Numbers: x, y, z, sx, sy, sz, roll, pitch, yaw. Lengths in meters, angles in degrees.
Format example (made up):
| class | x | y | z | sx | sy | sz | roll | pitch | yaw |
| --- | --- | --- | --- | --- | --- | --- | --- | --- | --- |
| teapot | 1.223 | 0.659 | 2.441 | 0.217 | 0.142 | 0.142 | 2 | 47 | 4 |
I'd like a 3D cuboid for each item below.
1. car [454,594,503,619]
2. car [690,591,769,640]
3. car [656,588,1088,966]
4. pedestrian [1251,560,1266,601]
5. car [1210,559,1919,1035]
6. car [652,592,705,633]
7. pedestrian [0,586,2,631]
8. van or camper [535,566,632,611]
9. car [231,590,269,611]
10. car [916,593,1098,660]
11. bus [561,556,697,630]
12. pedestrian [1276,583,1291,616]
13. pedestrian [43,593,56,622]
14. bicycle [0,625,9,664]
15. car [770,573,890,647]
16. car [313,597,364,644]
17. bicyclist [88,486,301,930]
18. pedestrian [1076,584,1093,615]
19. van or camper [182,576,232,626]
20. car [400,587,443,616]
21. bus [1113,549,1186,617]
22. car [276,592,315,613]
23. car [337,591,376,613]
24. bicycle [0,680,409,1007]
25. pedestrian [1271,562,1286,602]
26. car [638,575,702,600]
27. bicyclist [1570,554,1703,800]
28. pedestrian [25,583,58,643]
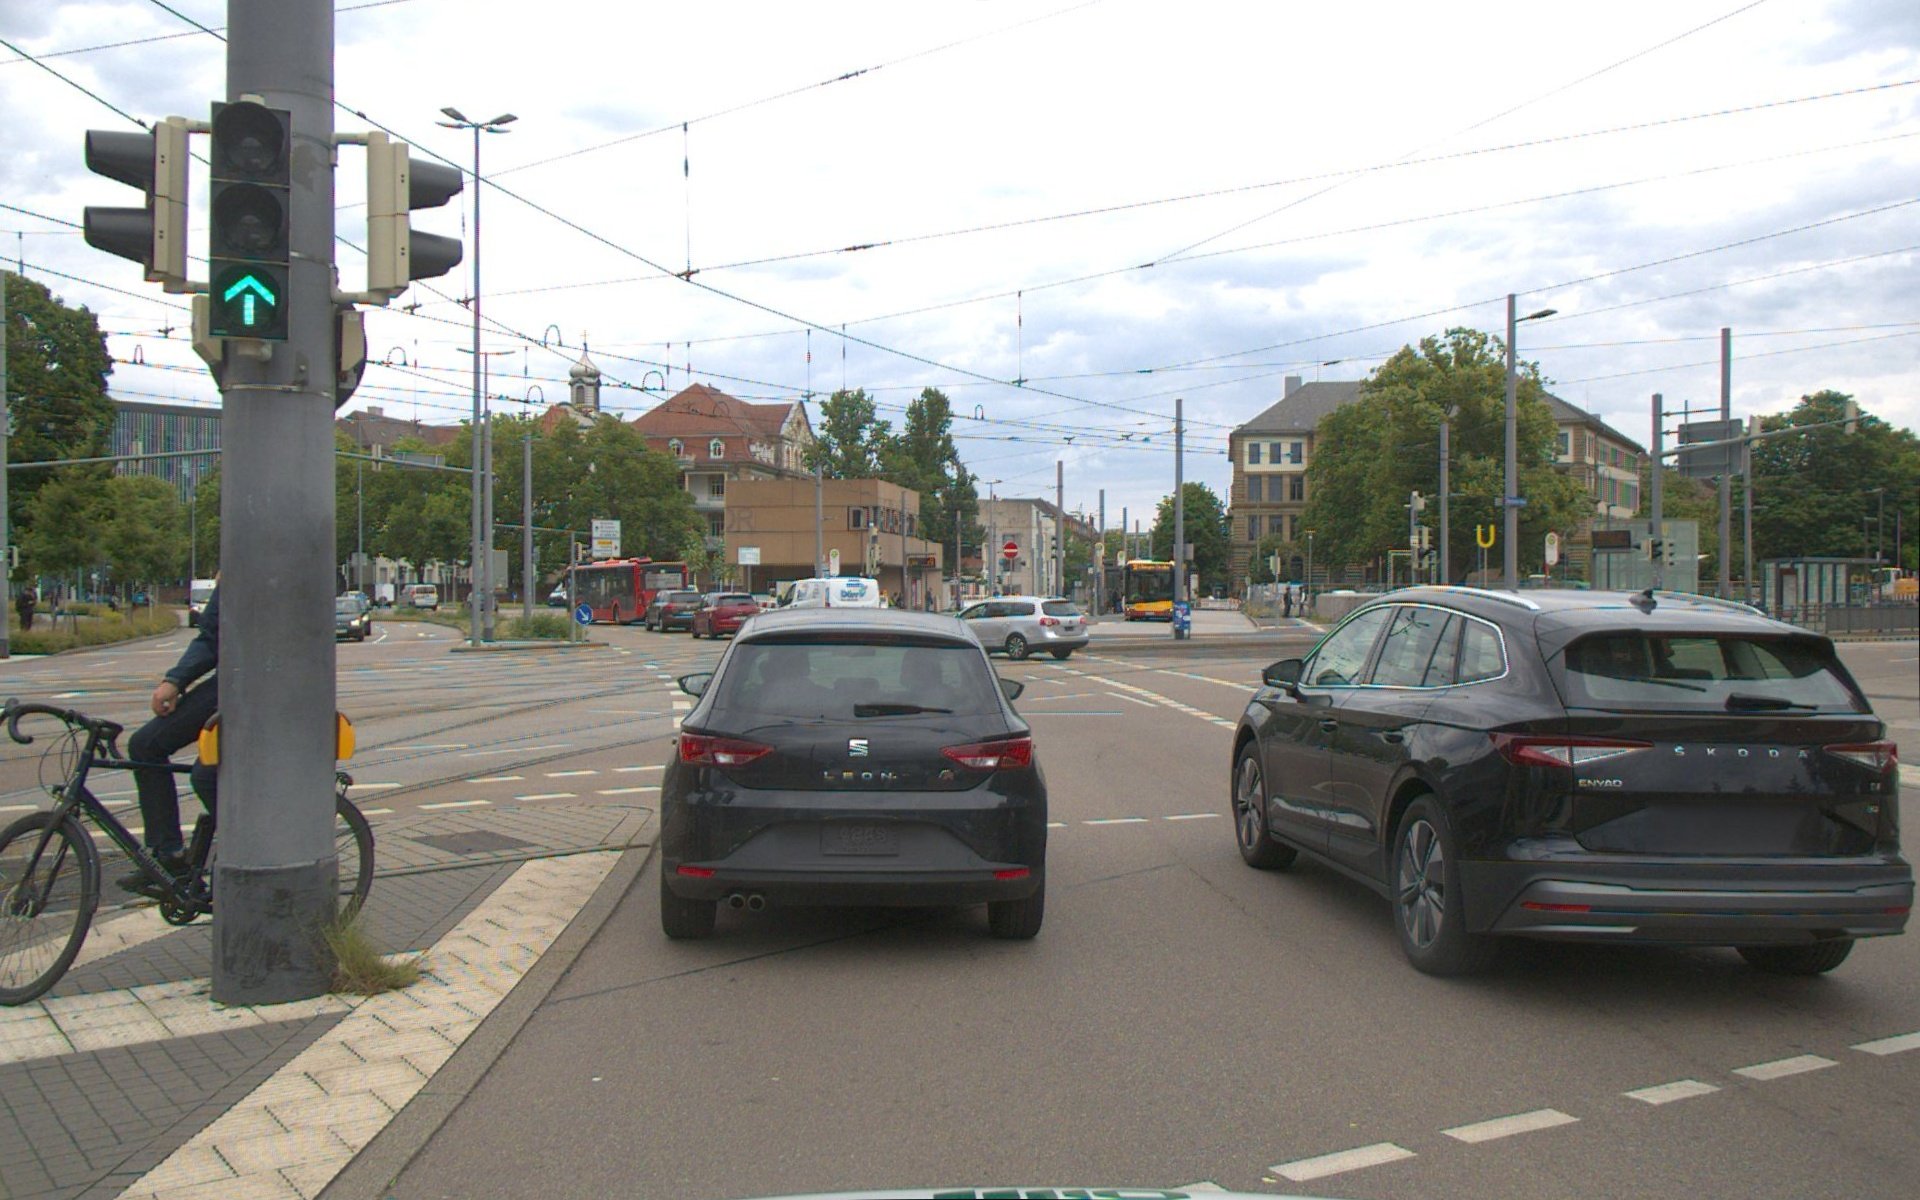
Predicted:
| class | x | y | z | sx | sy | sz | roll | pitch | yaw |
| --- | --- | --- | --- | --- | --- | --- | --- | --- | --- |
| car | -31.055 | 0.405 | 106.628 | 1.975 | 1.566 | 3.955 | 0 | 0 | -33 |
| car | -8.066 | 0.493 | 57.609 | 1.831 | 1.628 | 4.178 | 0 | 0 | -21 |
| car | -0.538 | 0.695 | 8.594 | 1.712 | 1.489 | 3.995 | 1 | 0 | -6 |
| pedestrian | 31.926 | -2.084 | 176.940 | 1.359 | 4.328 | 1.346 | 0 | 0 | -1 |
| car | 2.715 | 0.686 | 8.230 | 1.866 | 1.687 | 4.509 | 0 | 0 | -6 |
| car | -11.372 | 0.462 | 66.666 | 1.959 | 1.593 | 4.192 | 0 | 0 | -12 |
| pedestrian | -37.978 | 0.340 | 64.689 | 0.735 | 1.764 | 0.683 | -1 | 1 | -16 |
| van or camper | -29.677 | -0.881 | 130.547 | 2.827 | 3.390 | 7.105 | -2 | -1 | 43 |
| car | -62.690 | 0.041 | 146.103 | 1.983 | 1.803 | 3.939 | 0 | 0 | -42 |
| car | 1.102 | 0.625 | 40.700 | 4.551 | 1.508 | 1.714 | 0 | 1 | 45 |
| bus | -16.462 | -0.324 | 81.348 | 3.025 | 3.355 | 12.259 | 0 | 0 | -29 |
| pedestrian | 18.598 | -0.043 | 95.057 | 0.806 | 1.886 | 1.022 | 0 | 0 | 14 |
| pedestrian | -49.443 | 0.389 | 89.832 | 0.554 | 1.568 | 0.749 | 0 | 0 | -25 |
| bicycle | -27.852 | 1.217 | 46.190 | 2.080 | 1.046 | 0.791 | 2 | 0 | -19 |
| car | -3.914 | 0.258 | 48.955 | 1.968 | 2.054 | 4.992 | 0 | 0 | -25 |
| car | -21.833 | 0.681 | 58.160 | 1.595 | 1.542 | 3.643 | -1 | 1 | -20 |
| bicyclist | -3.061 | 0.403 | 6.615 | 0.649 | 1.668 | 0.510 | 0 | 0 | -41 |
| pedestrian | 7.314 | -0.035 | 97.395 | 0.806 | 1.840 | 1.022 | 0 | 0 | 14 |
| van or camper | -40.412 | 0.036 | 88.701 | 2.252 | 2.571 | 5.526 | -1 | 1 | -26 |
| car | -38.861 | 0.083 | 119.257 | 1.976 | 2.049 | 3.952 | 0 | 0 | -34 |
| bus | 10.219 | -0.859 | 87.895 | 2.952 | 3.325 | 13.054 | 0 | 0 | 11 |
| car | -54.545 | 0.212 | 135.767 | 1.979 | 1.668 | 3.947 | 0 | 0 | -37 |
| car | -48.743 | 0.168 | 133.533 | 1.978 | 1.780 | 3.949 | 0 | 0 | -36 |
| bicycle | -3.080 | 0.907 | 6.600 | 1.600 | 1.088 | 0.520 | -1 | 0 | -42 |
| pedestrian | 34.113 | -1.933 | 177.077 | 1.280 | 4.328 | 1.346 | 0 | 0 | -1 |
| car | -23.917 | -1.052 | 136.451 | 1.966 | 1.897 | 4.971 | -5 | -3 | 44 |
| bicyclist | 4.874 | 0.531 | 11.952 | 0.603 | 1.720 | 0.805 | 0 | 1 | -4 |
| pedestrian | -31.089 | 0.427 | 55.996 | 0.806 | 2.015 | 0.655 | -1 | 1 | -16 |
